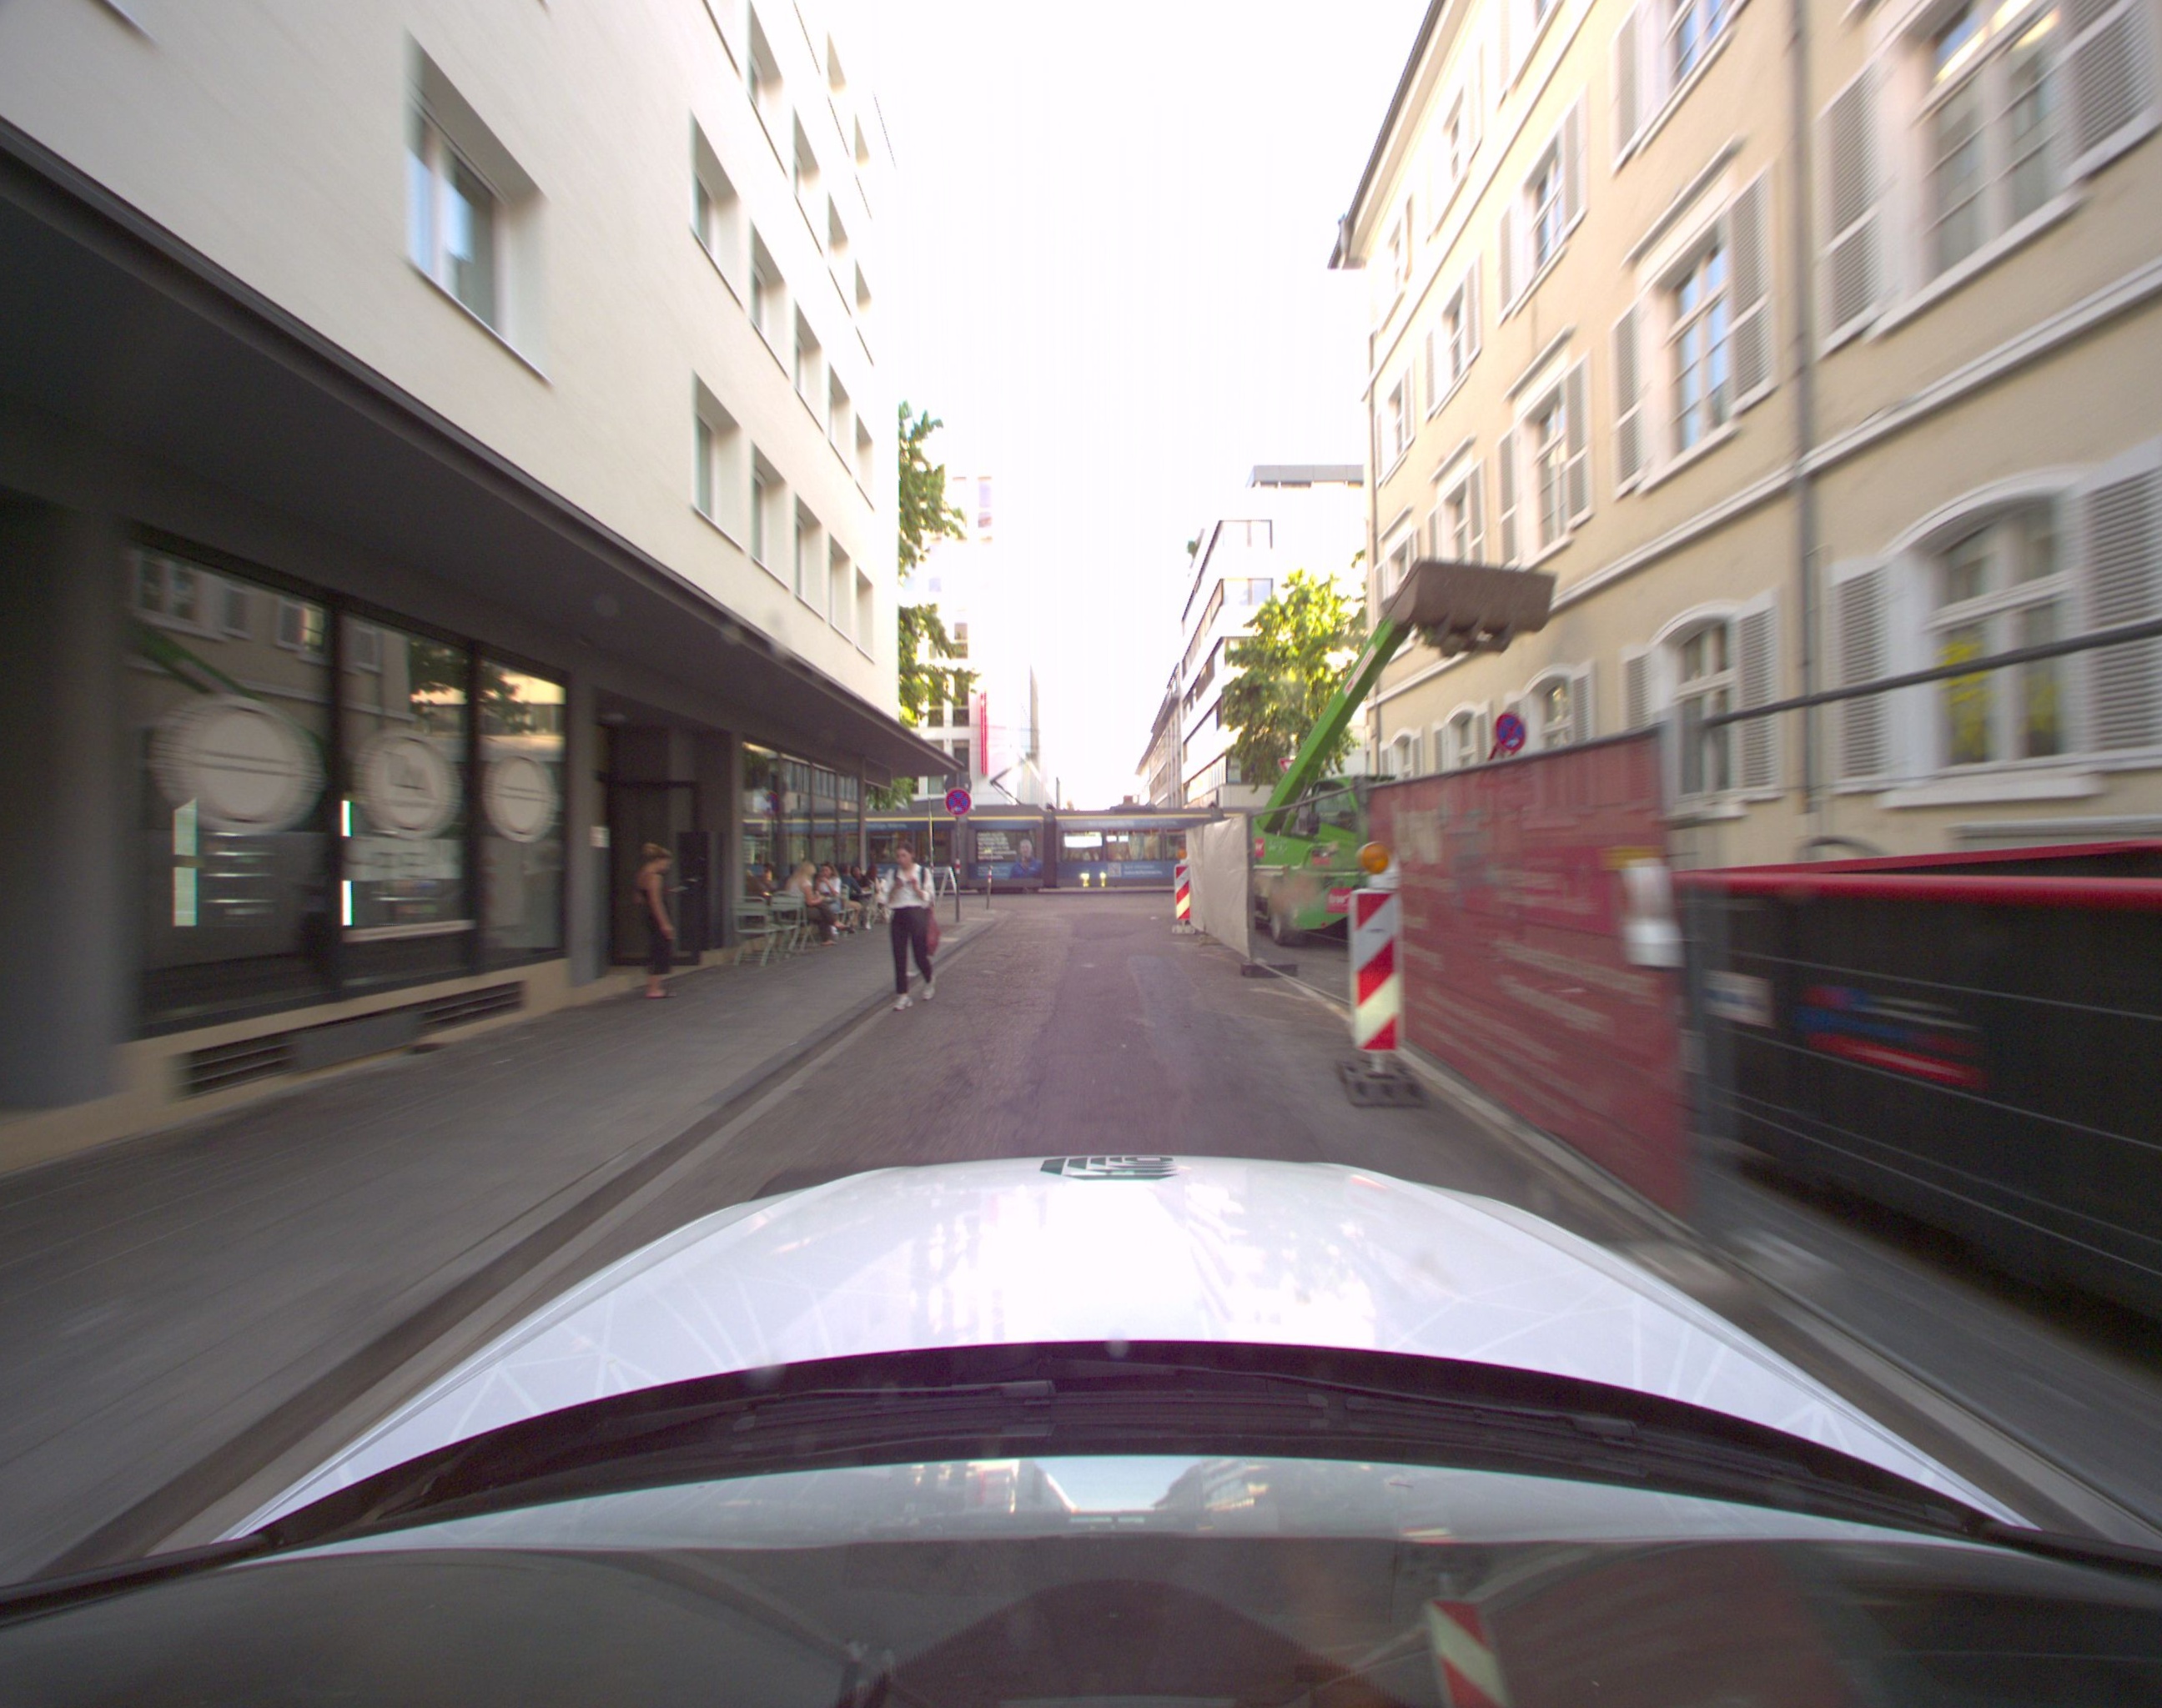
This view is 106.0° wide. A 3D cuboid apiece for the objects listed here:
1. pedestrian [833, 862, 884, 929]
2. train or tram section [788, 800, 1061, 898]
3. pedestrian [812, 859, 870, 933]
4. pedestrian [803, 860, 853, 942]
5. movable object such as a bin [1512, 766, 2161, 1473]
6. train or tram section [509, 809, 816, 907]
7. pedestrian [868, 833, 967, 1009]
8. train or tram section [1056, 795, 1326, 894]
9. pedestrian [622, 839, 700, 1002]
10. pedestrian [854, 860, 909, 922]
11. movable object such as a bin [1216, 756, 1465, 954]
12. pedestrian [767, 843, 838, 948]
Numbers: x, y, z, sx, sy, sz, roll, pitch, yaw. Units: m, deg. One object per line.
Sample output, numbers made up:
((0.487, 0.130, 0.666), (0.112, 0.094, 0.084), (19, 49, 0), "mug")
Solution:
((-4.203, 0.768, 15.405), (0.701, 1.195, 0.692), (2, 0, 4), "pedestrian")
((-6.060, -0.167, 32.859), (10.333, 3.524, 3.017), (-1, -1, 0), "train or tram section")
((-4.254, 0.726, 14.479), (0.701, 1.240, 0.778), (2, 0, 4), "pedestrian")
((-4.195, 0.746, 13.459), (0.707, 1.286, 0.854), (0, 0, -23), "pedestrian")
((3.967, 0.586, 1.071), (2.882, 1.664, 7.292), (-2, 0, 0), "movable object such as a bin")
((-16.604, 0.184, 32.859), (10.773, 3.524, 3.013), (-1, -1, 0), "train or tram section")
((-1.709, 0.681, 8.609), (0.753, 1.739, 0.785), (-3, 0, 4), "pedestrian")
((4.245, -0.343, 32.868), (10.302, 3.524, 3.026), (-2, -1, 0), "train or tram section")
((-4.238, 0.639, 8.254), (0.660, 1.569, 0.633), (1, 0, -25), "pedestrian")
((-4.087, 0.734, 16.702), (0.697, 1.219, 0.847), (-1, -1, 38), "pedestrian")
((4.358, 0.010, 14.990), (2.628, 2.872, 5.562), (-2, 0, -1), "movable object such as a bin")
((-4.273, 0.620, 12.528), (0.700, 1.547, 0.863), (0, 0, 8), "pedestrian")
